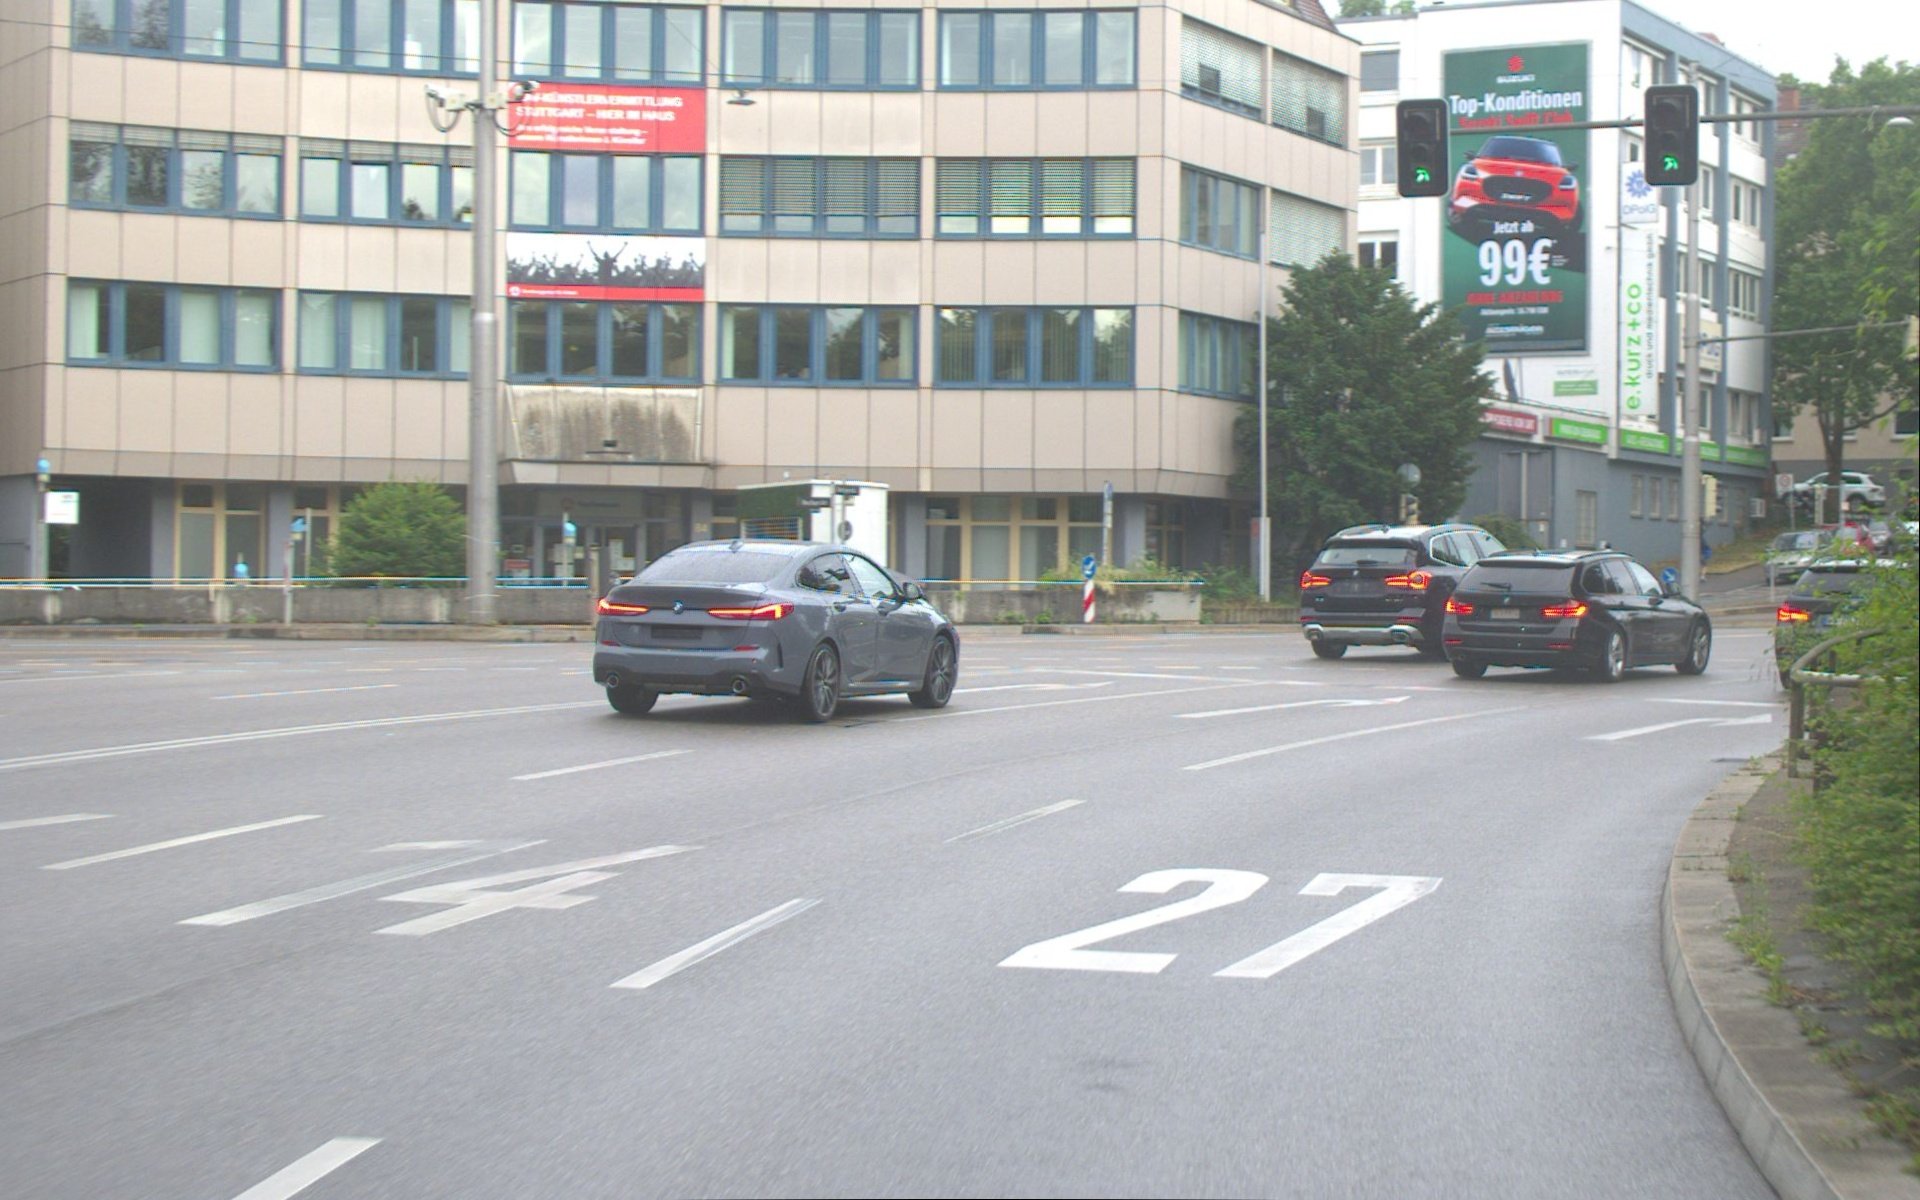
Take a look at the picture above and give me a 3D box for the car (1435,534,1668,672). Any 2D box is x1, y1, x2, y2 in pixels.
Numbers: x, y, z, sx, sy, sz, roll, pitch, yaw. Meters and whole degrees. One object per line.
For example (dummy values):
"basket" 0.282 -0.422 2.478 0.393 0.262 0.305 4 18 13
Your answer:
"car" 6.657 -0.009 38.344 1.793 1.421 4.609 1 1 19

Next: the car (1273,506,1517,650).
"car" 5.424 -0.245 42.453 1.902 1.688 3.995 0 0 24

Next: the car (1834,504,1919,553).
"car" 31.462 -2.463 117.442 1.836 1.426 4.063 0 4 33

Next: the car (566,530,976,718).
"car" -1.457 0.196 28.387 1.792 1.422 4.380 0 0 20

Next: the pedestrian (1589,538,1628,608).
"pedestrian" 18.679 -0.765 98.985 0.840 2.007 0.980 0 -1 28

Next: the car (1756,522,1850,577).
"car" 26.673 -1.606 108.703 1.836 1.458 4.171 0 4 29

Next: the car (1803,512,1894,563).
"car" 29.325 -2.069 113.405 1.836 1.426 4.064 0 4 31

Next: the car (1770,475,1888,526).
"car" 35.979 -4.123 142.339 4.422 1.999 1.997 0 0 24

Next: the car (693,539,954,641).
"car" -2.536 -0.162 64.060 4.425 1.837 2.000 1 -1 -29

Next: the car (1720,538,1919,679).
"car" 9.297 0.097 36.916 1.960 1.422 4.122 0 0 16
